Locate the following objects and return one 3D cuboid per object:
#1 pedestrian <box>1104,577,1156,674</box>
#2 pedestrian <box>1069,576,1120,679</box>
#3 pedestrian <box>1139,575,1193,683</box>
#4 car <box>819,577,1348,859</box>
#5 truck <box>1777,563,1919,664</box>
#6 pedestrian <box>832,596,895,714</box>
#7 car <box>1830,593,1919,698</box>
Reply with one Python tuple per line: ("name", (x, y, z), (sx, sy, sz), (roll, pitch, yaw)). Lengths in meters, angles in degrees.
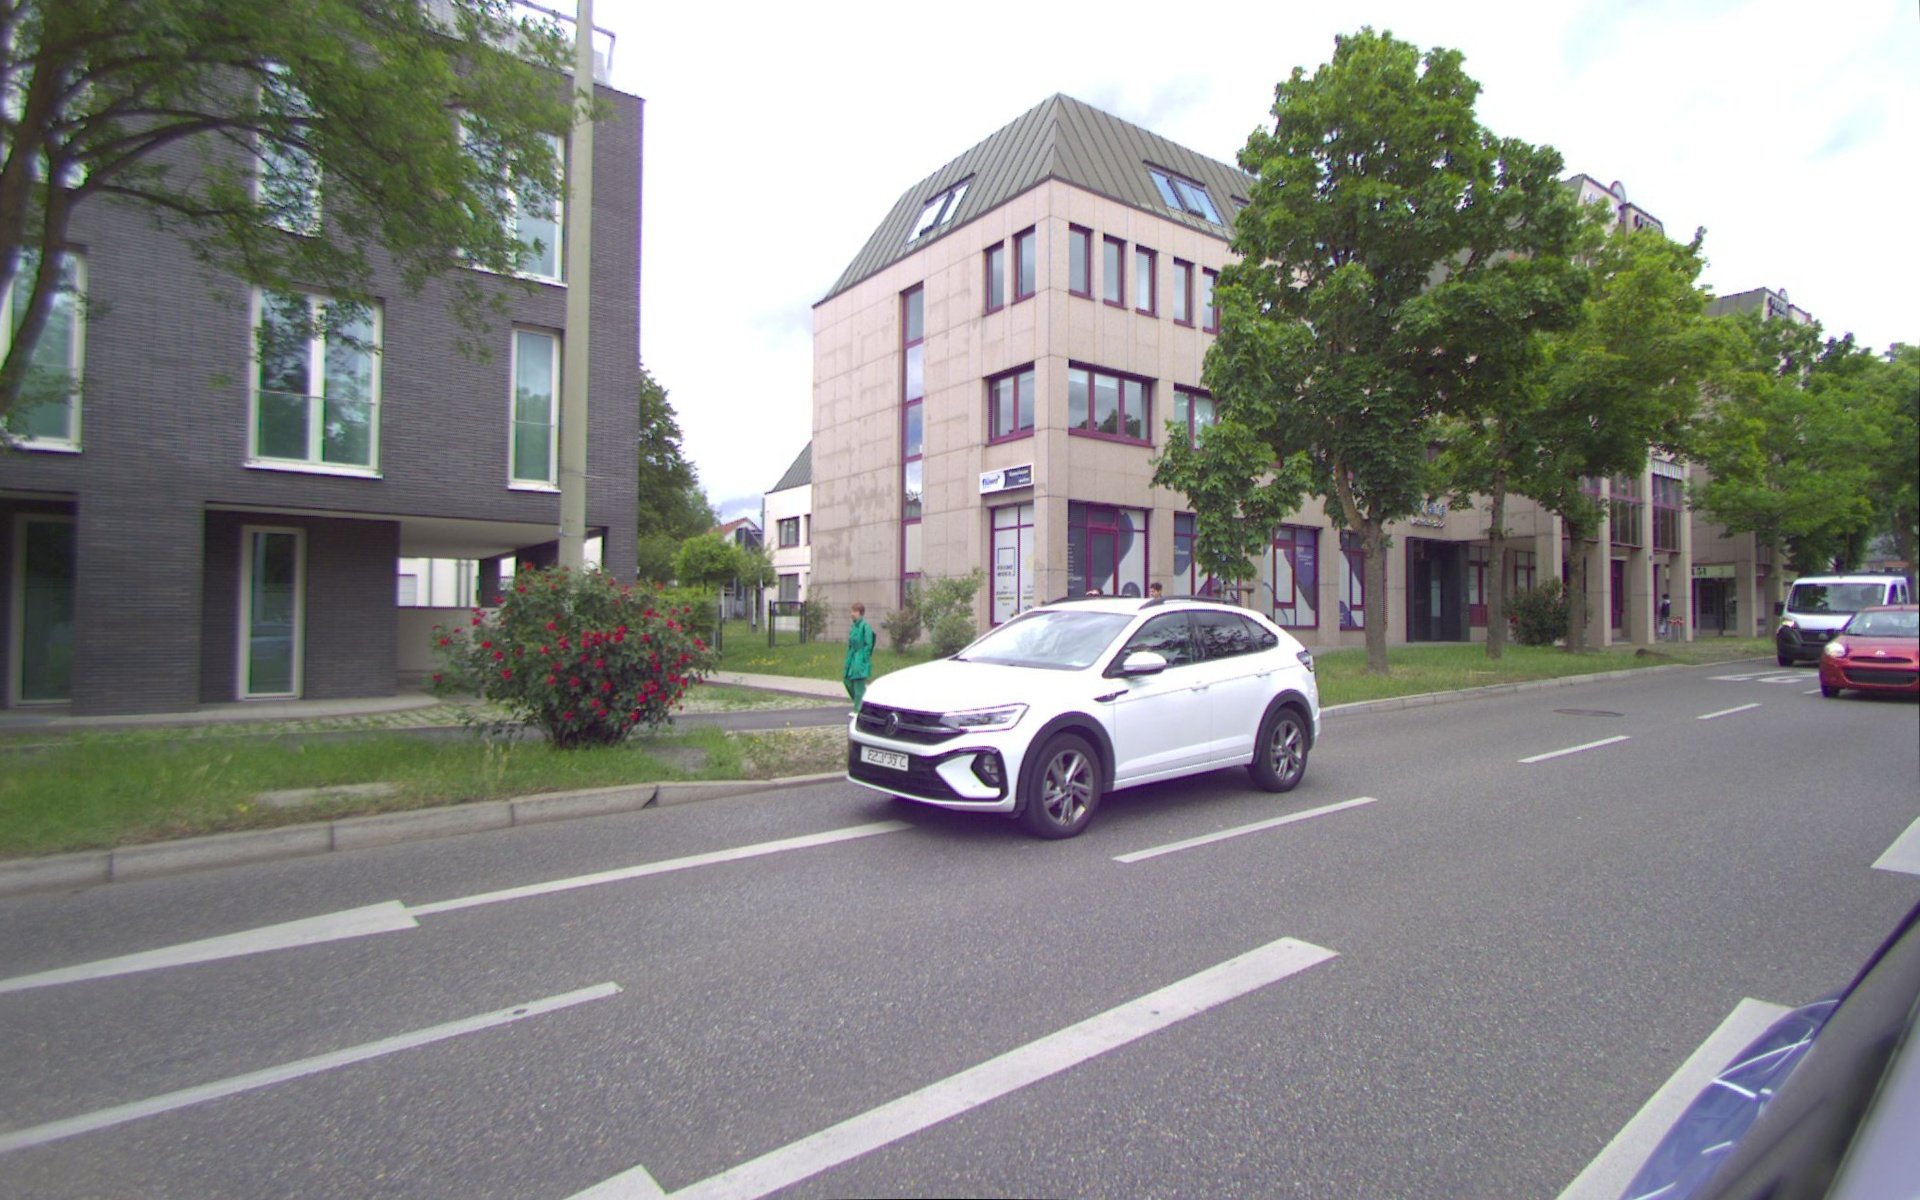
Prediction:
("pedestrian", (3.023, 0.444, 17.985), (0.665, 1.668, 0.642), (0, -1, -41))
("pedestrian", (2.449, 0.487, 18.503), (0.665, 1.828, 0.642), (0, -1, -41))
("pedestrian", (3.570, 0.490, 17.513), (0.665, 1.828, 0.642), (0, -1, -41))
("car", (1.103, 0.647, 7.618), (4.018, 1.575, 1.719), (0, 0, -41))
("truck", (22.405, 0.284, 25.052), (5.738, 2.231, 2.216), (-1, 0, -39))
("pedestrian", (-1.317, 0.725, 13.806), (0.665, 1.537, 0.496), (0, 2, -41))
("car", (15.885, 0.684, 16.716), (3.790, 1.577, 1.719), (0, 1, -40))
